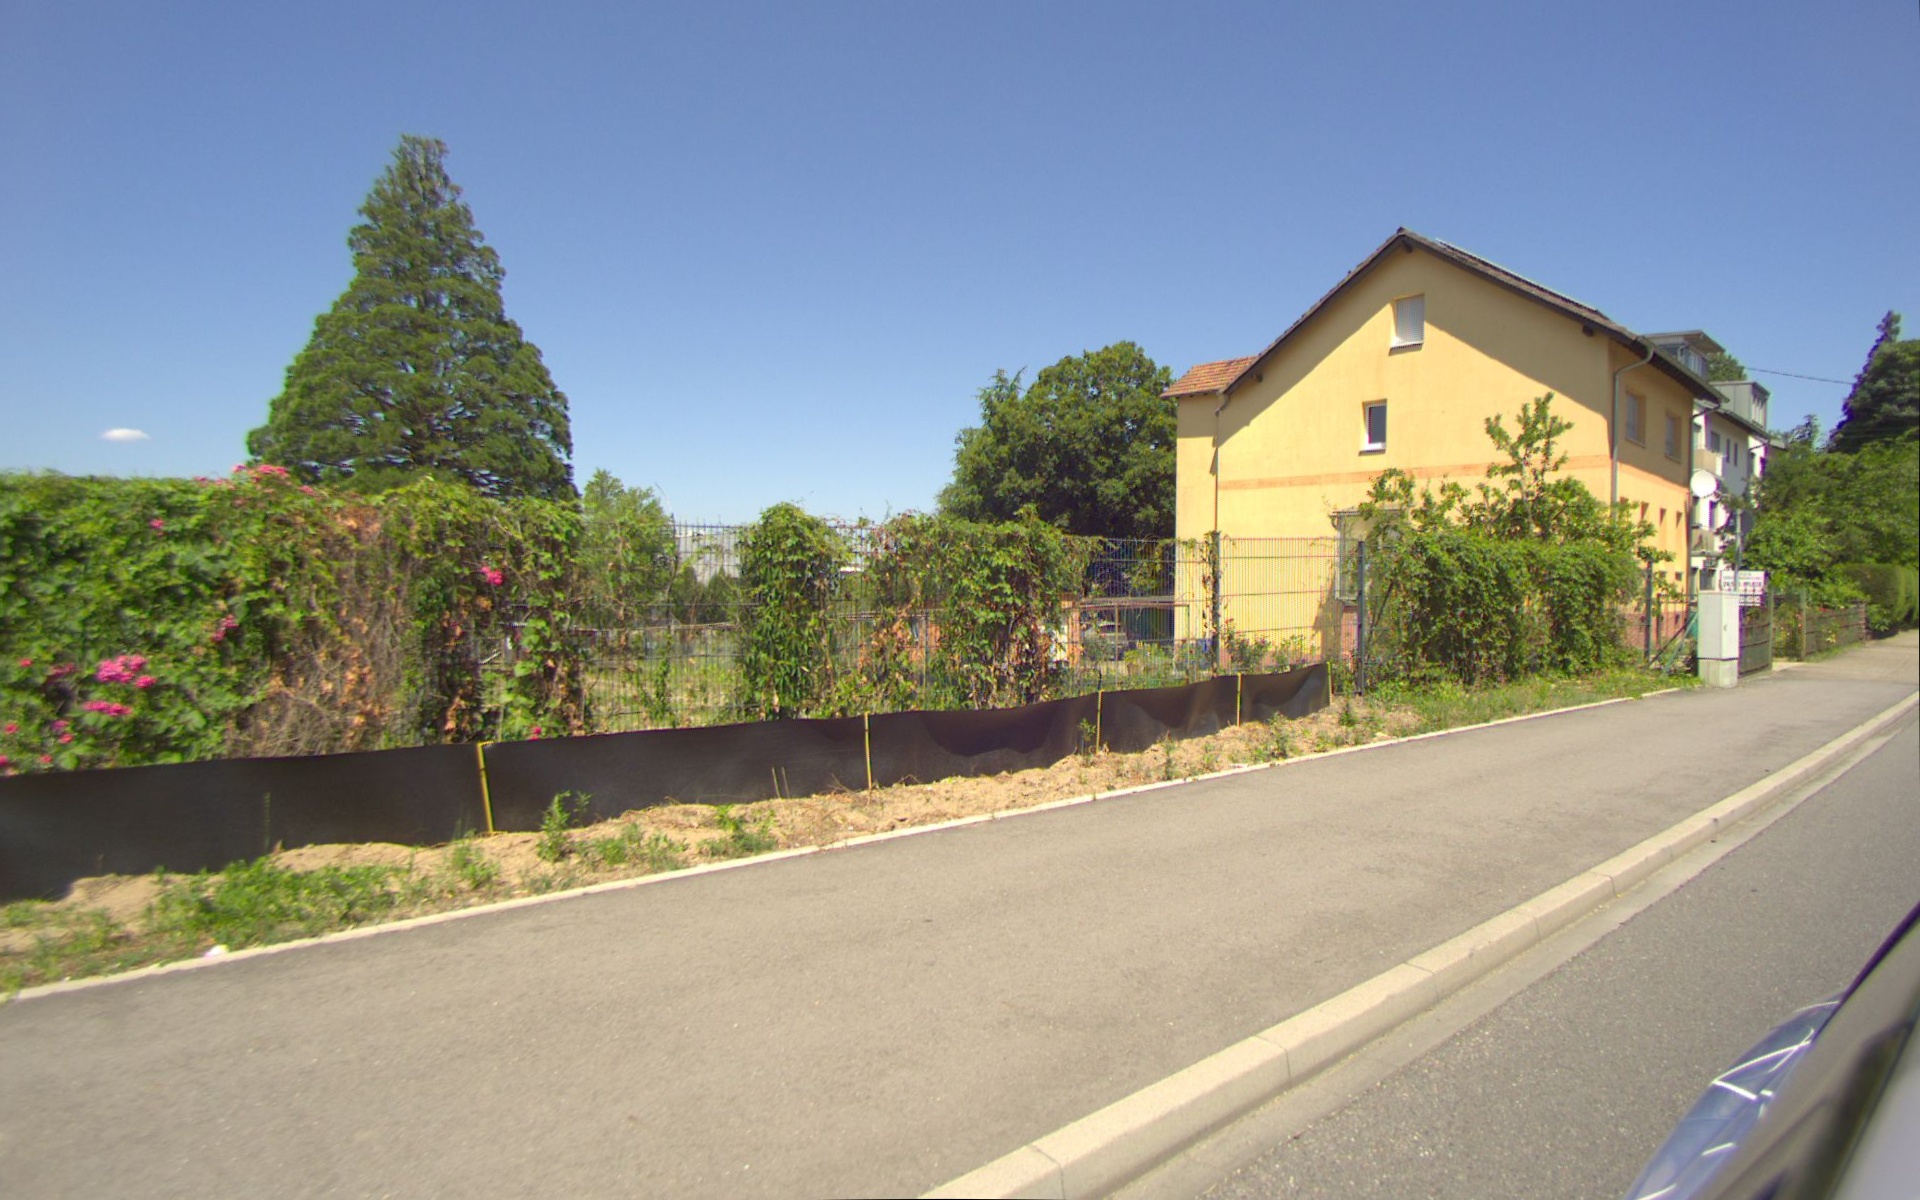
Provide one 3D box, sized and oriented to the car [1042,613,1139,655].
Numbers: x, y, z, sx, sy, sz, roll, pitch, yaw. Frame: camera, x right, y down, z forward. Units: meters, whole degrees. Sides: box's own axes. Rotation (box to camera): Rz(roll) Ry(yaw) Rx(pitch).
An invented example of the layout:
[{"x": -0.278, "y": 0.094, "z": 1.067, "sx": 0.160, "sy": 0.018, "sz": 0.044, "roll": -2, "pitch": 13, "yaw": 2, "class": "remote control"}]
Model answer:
[{"x": 5.566, "y": 1.414, "z": 43.510, "sx": 1.850, "sy": 1.709, "sz": 3.997, "roll": 0, "pitch": 0, "yaw": -38, "class": "car"}]
